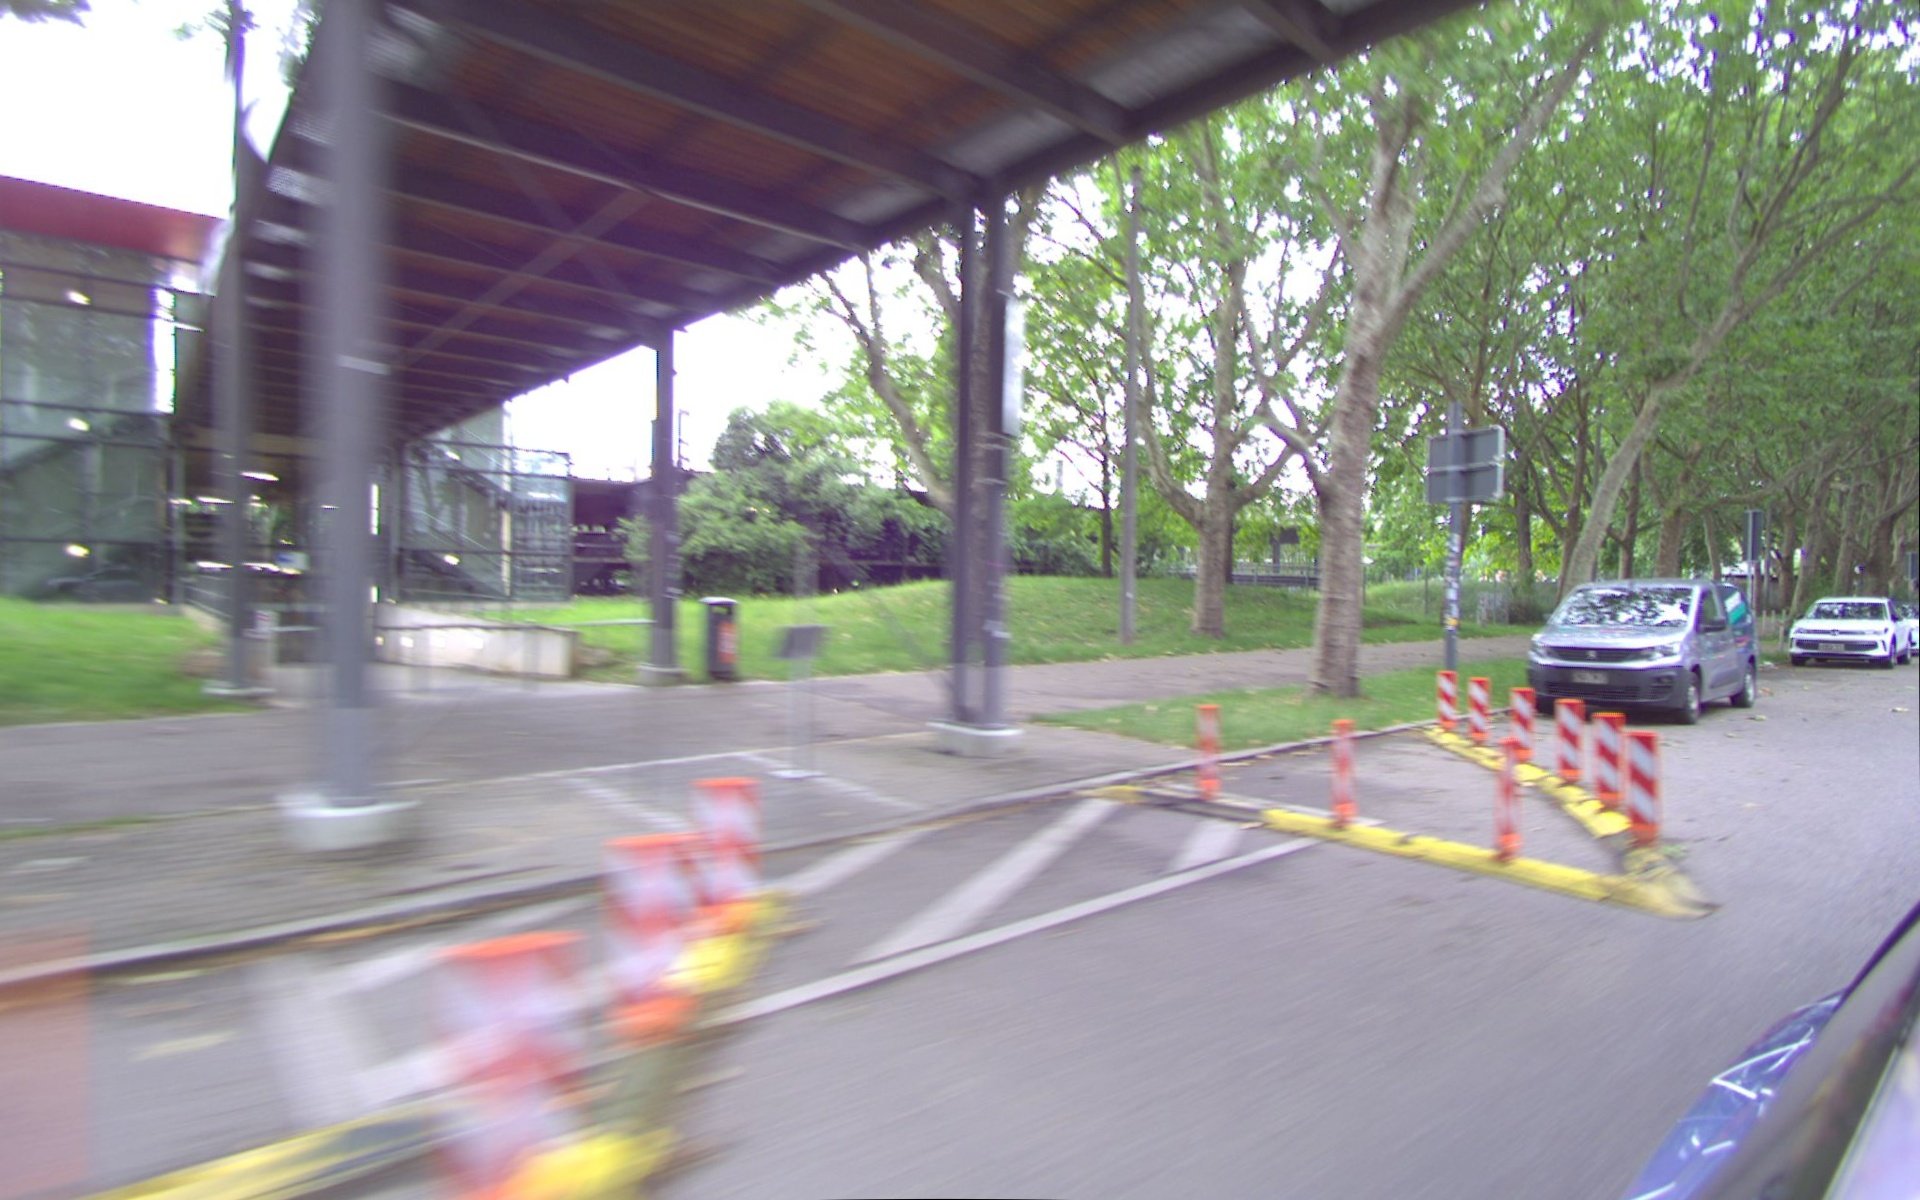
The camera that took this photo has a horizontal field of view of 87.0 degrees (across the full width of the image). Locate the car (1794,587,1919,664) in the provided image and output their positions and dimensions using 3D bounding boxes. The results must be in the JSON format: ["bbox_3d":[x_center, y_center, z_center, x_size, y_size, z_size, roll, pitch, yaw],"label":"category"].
[{"bbox_3d":[21.626,0.528,24.110,4.665,1.638,1.918,0,1,-41],"label":"car"}]

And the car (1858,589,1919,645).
[{"bbox_3d":[27.802,0.459,29.546,4.024,1.545,1.811,0,1,-41],"label":"car"}]

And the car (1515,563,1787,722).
[{"bbox_3d":[9.622,0.472,13.899,5.119,1.805,1.850,0,0,-41],"label":"car"}]
